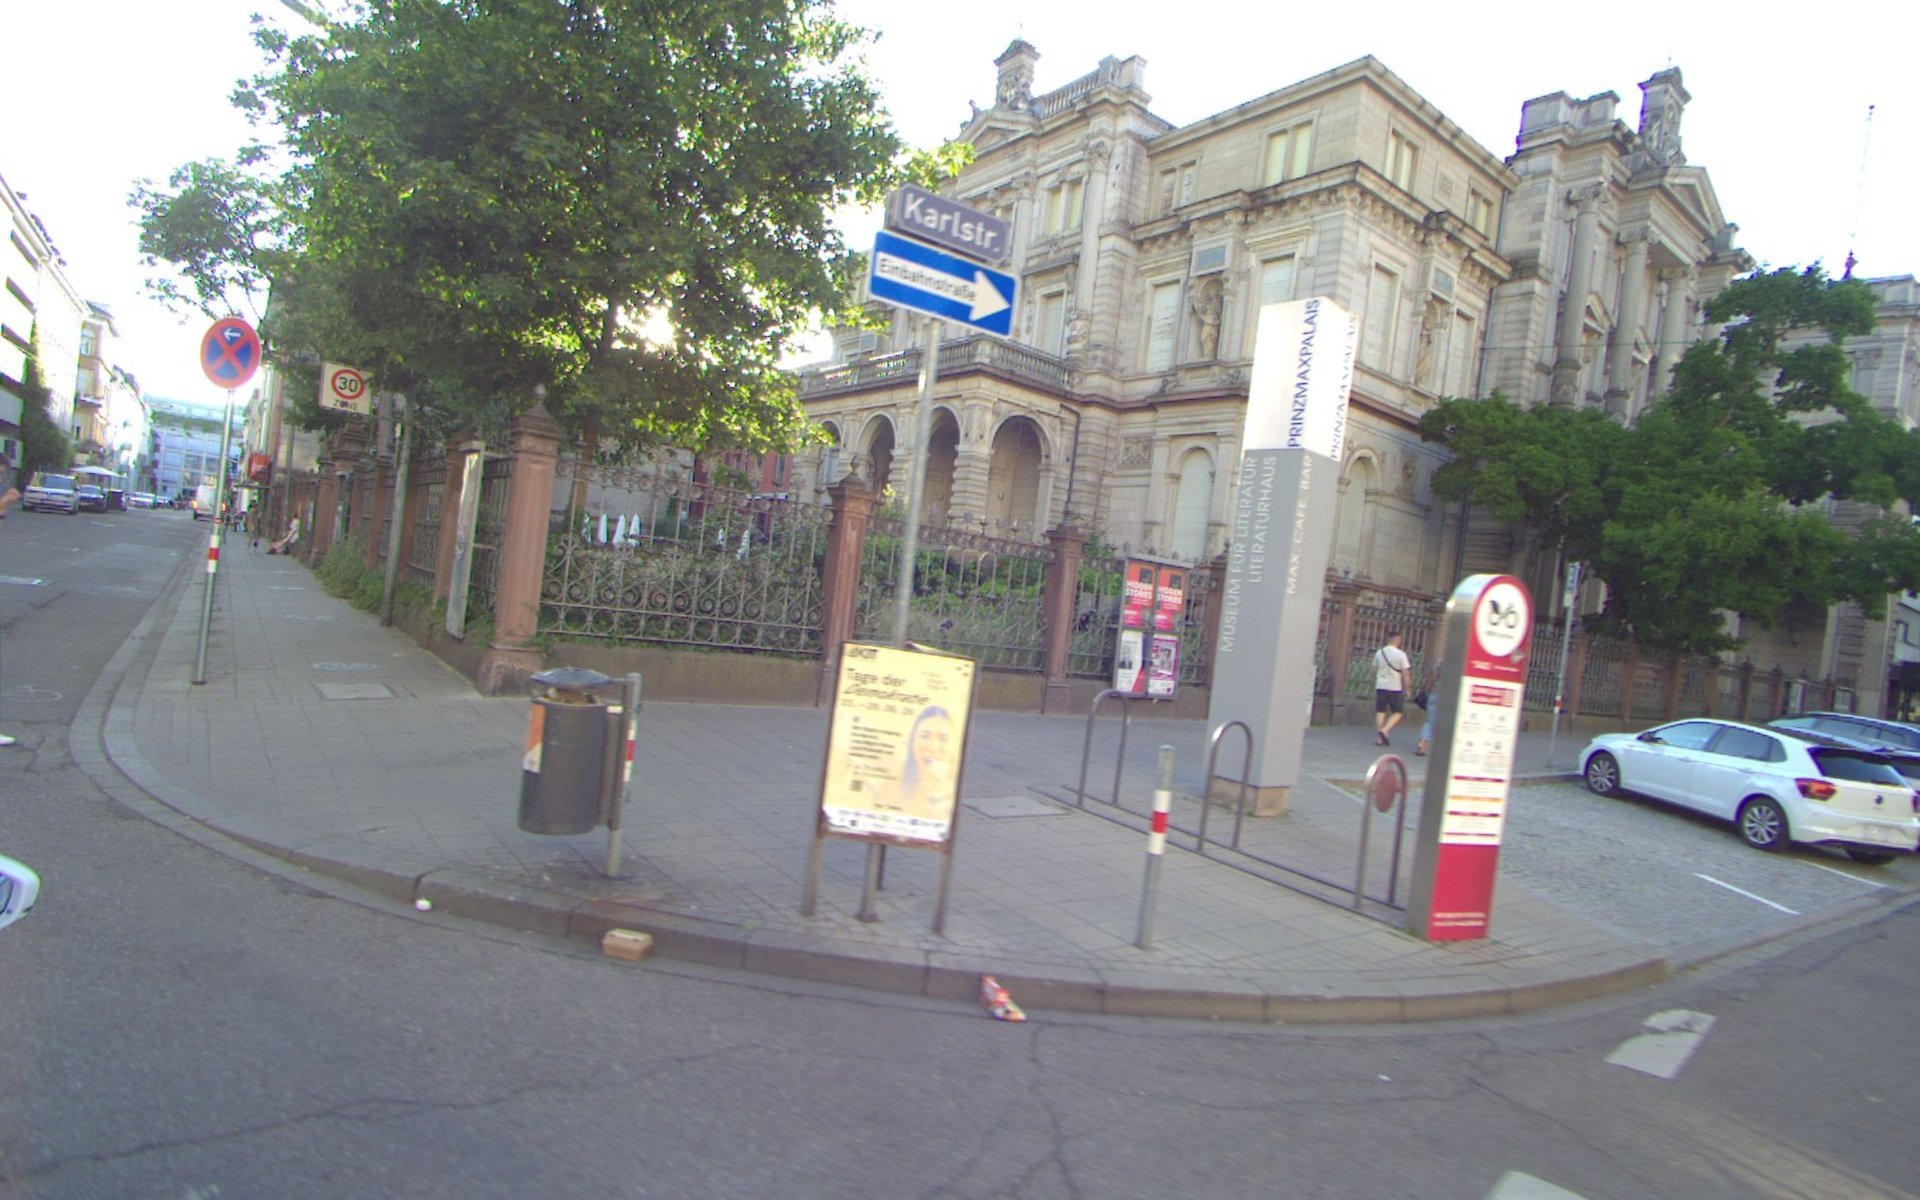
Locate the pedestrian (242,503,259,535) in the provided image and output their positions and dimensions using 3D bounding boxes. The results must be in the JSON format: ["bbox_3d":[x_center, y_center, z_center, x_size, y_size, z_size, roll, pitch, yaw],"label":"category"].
[{"bbox_3d":[-38.777,-4.439,54.978,0.658,1.688,0.617,4,3,-37],"label":"pedestrian"}]

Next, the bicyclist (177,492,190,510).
[{"bbox_3d":[-91.322,-11.661,118.314,0.985,1.891,0.701,7,0,-37],"label":"bicyclist"}]

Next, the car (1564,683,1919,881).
[{"bbox_3d":[10.305,2.255,13.286,1.726,1.467,3.897,7,4,-9],"label":"car"}]

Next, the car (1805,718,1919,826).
[{"bbox_3d":[17.487,3.199,17.870,1.722,1.627,4.003,7,-1,7],"label":"car"}]

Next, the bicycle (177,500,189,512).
[{"bbox_3d":[-91.369,-11.033,118.293,0.970,1.296,2.727,7,-1,-37],"label":"bicycle"}]

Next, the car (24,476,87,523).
[{"bbox_3d":[-44.816,-4.965,49.910,1.875,1.935,4.696,7,0,-38],"label":"car"}]

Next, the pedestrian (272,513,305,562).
[{"bbox_3d":[-22.268,-2.077,33.351,0.746,1.519,0.611,4,3,-42],"label":"pedestrian"}]

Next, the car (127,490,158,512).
[{"bbox_3d":[-79.420,-9.613,97.760,1.983,1.704,3.960,8,-1,-37],"label":"car"}]

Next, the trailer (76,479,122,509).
[{"bbox_3d":[-56.748,-6.963,66.381,1.984,1.576,3.958,8,-1,-38],"label":"trailer"}]

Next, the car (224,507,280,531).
[{"bbox_3d":[-63.712,-7.275,90.553,3.967,1.437,1.640,8,-1,-37],"label":"car"}]

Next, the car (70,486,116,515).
[{"bbox_3d":[-54.196,-6.207,62.972,1.875,1.471,3.957,7,0,-38],"label":"car"}]

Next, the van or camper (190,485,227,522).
[{"bbox_3d":[-59.803,-7.662,80.116,2.243,2.643,5.061,2,3,-36],"label":"van or camper"}]

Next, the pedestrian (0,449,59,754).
[{"bbox_3d":[-5.843,-0.030,5.633,0.830,1.744,0.637,7,1,-3],"label":"pedestrian"}]

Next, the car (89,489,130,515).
[{"bbox_3d":[-59.355,-6.839,70.262,1.875,1.471,3.957,7,0,-38],"label":"car"}]

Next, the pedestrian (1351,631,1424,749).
[{"bbox_3d":[6.554,1.373,15.430,0.633,1.691,0.702,10,2,39],"label":"pedestrian"}]

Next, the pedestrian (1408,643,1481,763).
[{"bbox_3d":[7.325,1.552,15.203,0.633,1.691,0.702,10,2,39],"label":"pedestrian"}]

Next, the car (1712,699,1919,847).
[{"bbox_3d":[14.965,2.832,16.668,1.723,1.743,3.997,7,1,-1],"label":"car"}]

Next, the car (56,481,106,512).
[{"bbox_3d":[-51.605,-6.058,59.115,1.875,1.471,3.957,7,0,-38],"label":"car"}]

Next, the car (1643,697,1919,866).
[{"bbox_3d":[12.633,2.599,14.912,1.726,1.546,3.989,7,2,-9],"label":"car"}]

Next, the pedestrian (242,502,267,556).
[{"bbox_3d":[-23.168,-2.325,33.028,0.482,1.680,0.611,4,3,-44],"label":"pedestrian"}]
